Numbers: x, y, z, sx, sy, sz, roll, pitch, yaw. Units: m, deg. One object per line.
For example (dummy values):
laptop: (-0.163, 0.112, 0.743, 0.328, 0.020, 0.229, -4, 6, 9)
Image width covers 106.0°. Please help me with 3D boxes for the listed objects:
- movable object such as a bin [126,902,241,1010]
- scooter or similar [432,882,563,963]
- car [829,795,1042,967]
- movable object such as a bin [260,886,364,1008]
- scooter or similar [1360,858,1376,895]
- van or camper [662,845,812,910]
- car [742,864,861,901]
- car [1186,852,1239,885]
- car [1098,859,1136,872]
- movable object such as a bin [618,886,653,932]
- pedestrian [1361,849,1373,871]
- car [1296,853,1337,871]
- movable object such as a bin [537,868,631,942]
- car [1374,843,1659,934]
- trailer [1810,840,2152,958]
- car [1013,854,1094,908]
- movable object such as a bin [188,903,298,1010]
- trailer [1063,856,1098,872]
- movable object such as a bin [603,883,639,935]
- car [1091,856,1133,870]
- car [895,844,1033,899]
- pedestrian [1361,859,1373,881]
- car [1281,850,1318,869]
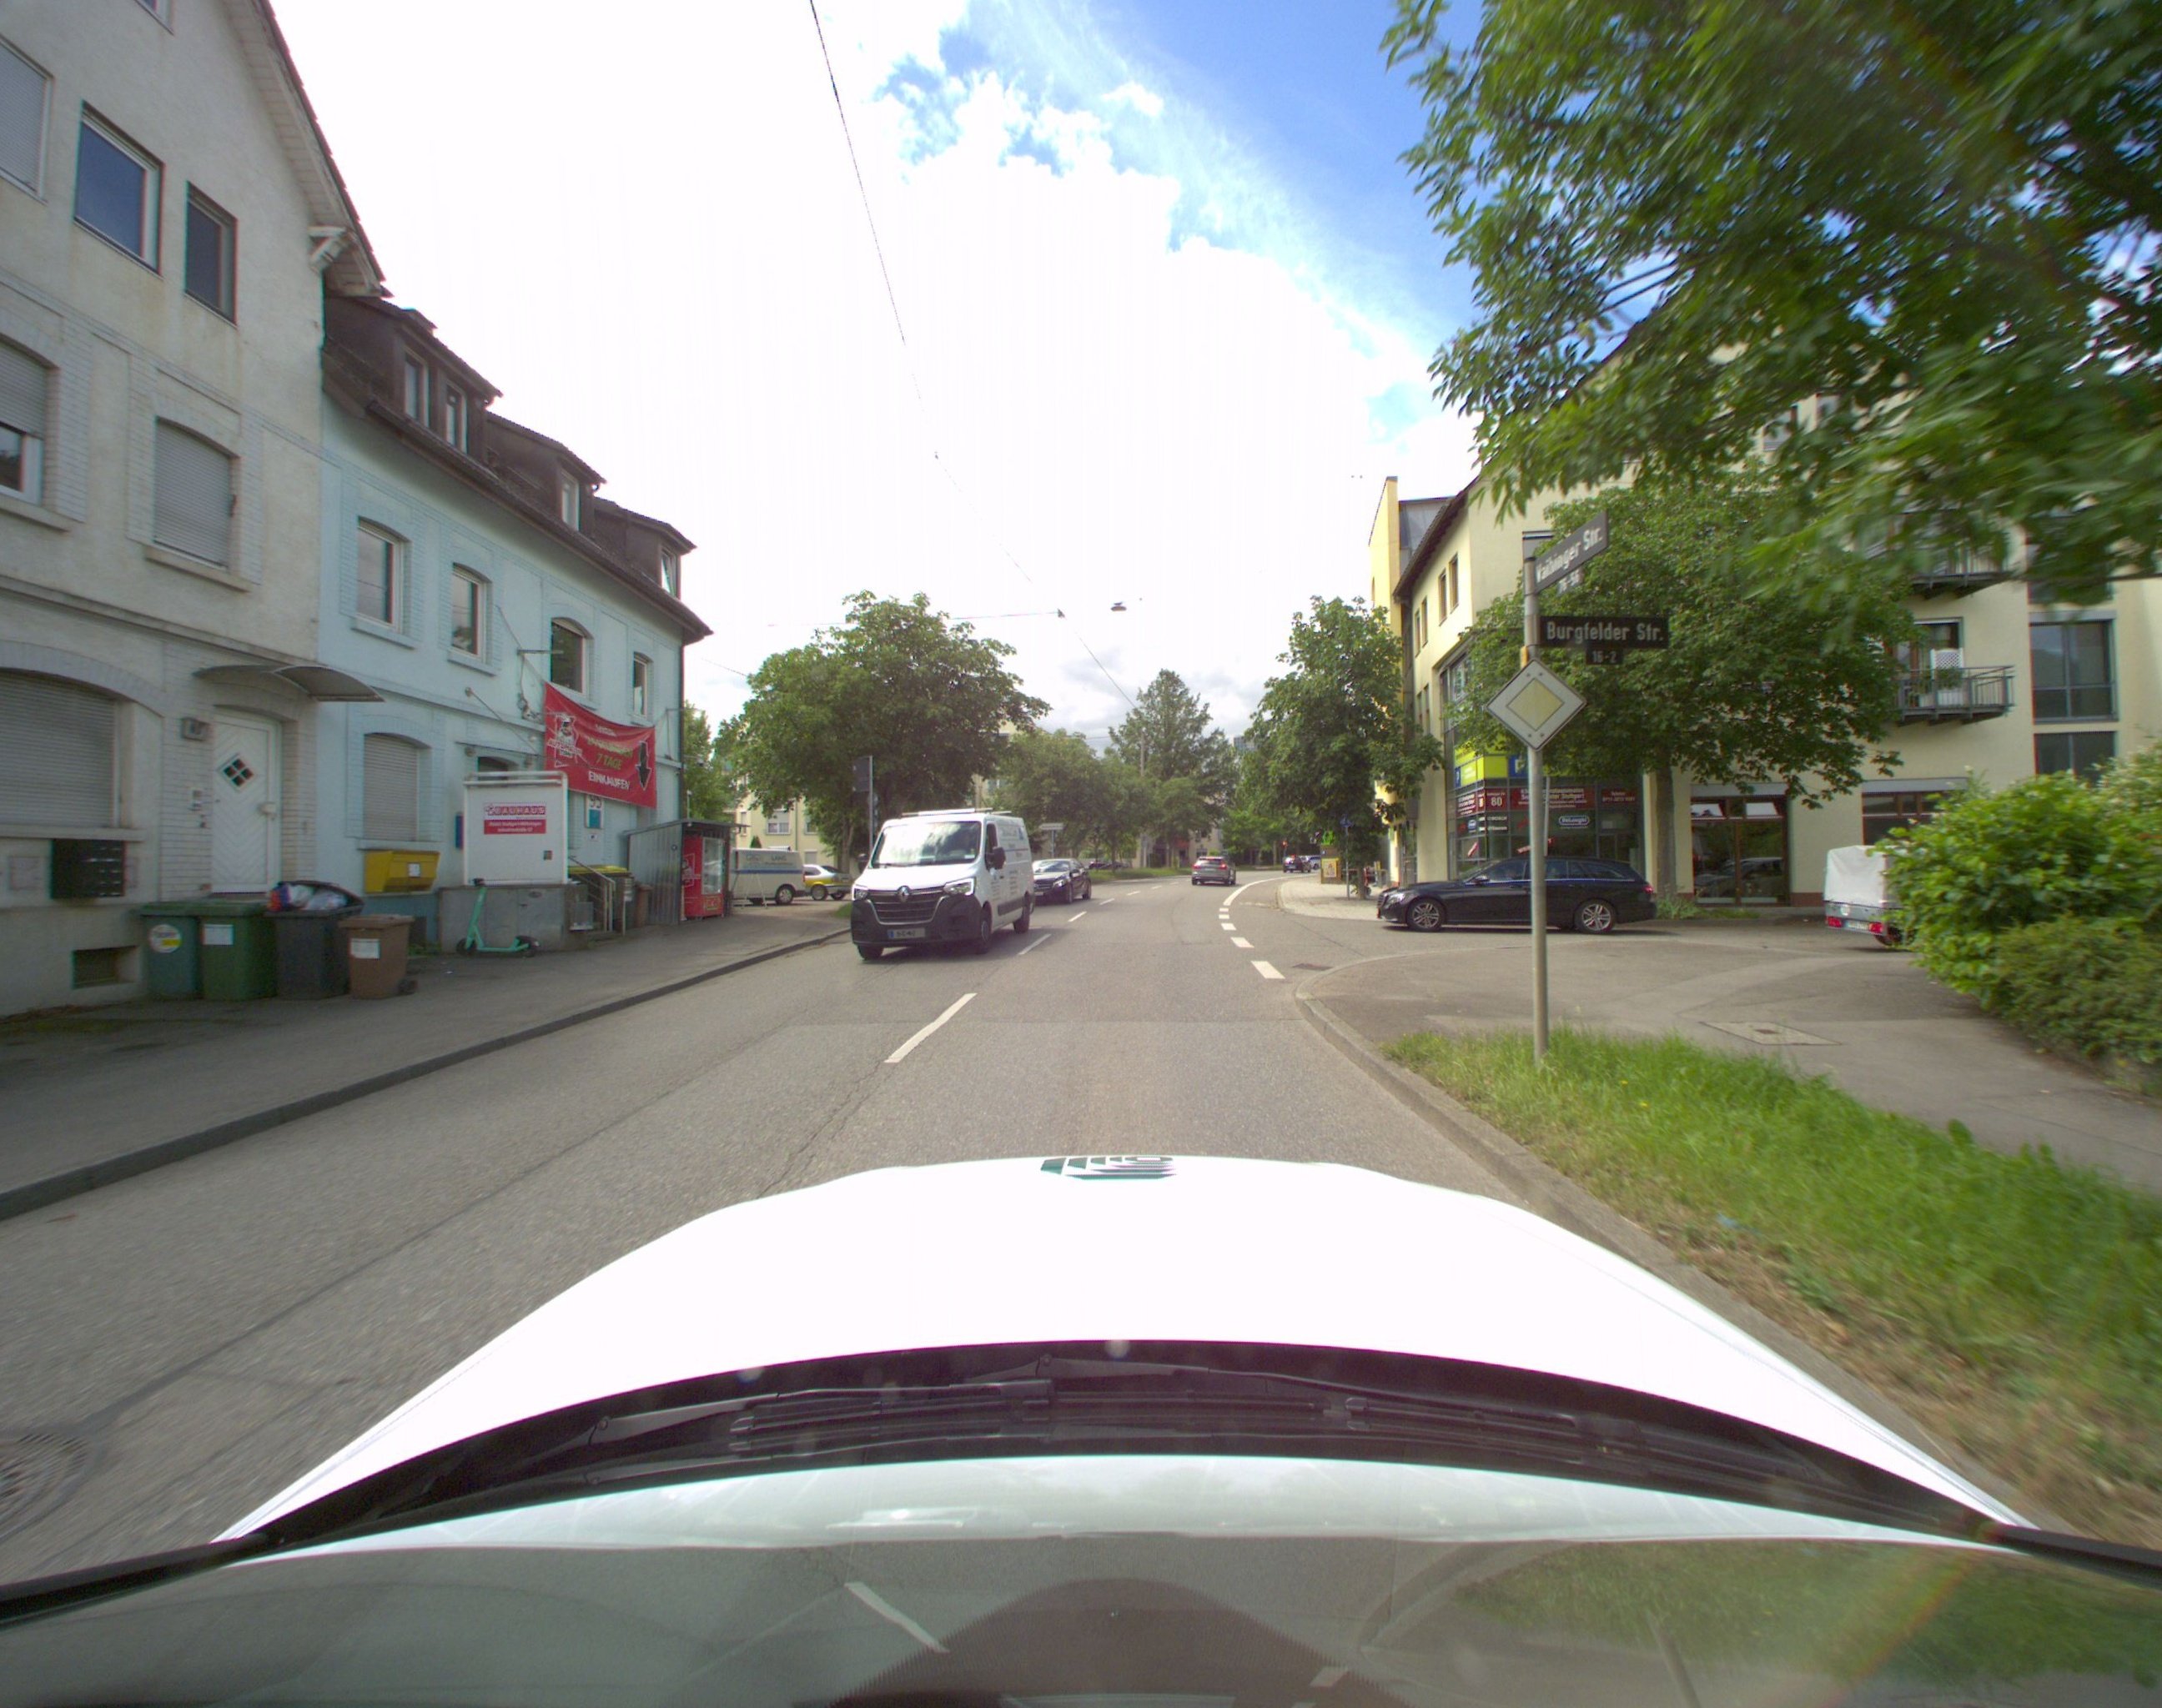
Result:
movable object such as a bin: (-9.701, 1.082, 8.820, 0.563, 1.101, 0.562, 1, -1, -5)
scooter or similar: (-8.809, 1.018, 12.329, 1.548, 1.184, 0.545, 0, -1, -1)
car: (-2.234, 0.369, 14.263, 2.052, 2.353, 5.194, -4, 0, 7)
movable object such as a bin: (-8.461, 1.008, 8.982, 0.563, 1.273, 0.562, 1, -1, -5)
scooter or similar: (10.555, 0.822, 29.994, 0.378, 1.316, 1.464, 0, -1, 13)
van or camper: (-11.482, 0.776, 27.495, 1.767, 1.994, 4.407, -2, -2, 35)
car: (-10.924, 1.119, 31.930, 3.990, 1.413, 1.821, -1, -2, 11)
car: (6.782, 0.694, 41.619, 1.940, 1.523, 4.350, 1, 1, 18)
car: (4.172, 1.322, 94.428, 4.047, 1.400, 1.801, 0, -4, 15)
movable object such as a bin: (-9.445, 1.161, 17.265, 0.445, 0.932, 0.517, 0, -1, -2)
pedestrian: (15.548, 0.337, 44.267, 0.518, 1.181, 0.502, 0, -1, 5)
car: (24.385, 0.846, 84.224, 4.347, 1.616, 1.791, 2, 0, -36)
movable object such as a bin: (-9.455, 0.948, 15.557, 1.017, 1.355, 1.246, 0, -1, -2)
car: (8.308, 0.647, 16.004, 4.637, 1.628, 1.817, 0, -1, 14)
trailer: (12.976, 0.606, 11.936, 3.137, 1.582, 1.398, -1, 0, 12)
car: (-0.796, 0.798, 26.147, 1.676, 1.482, 4.238, -4, -1, 10)
movable object such as a bin: (-9.107, 1.097, 8.871, 0.563, 1.101, 0.562, 1, -1, -5)
trailer: (-0.036, 1.172, 95.655, 3.879, 1.799, 1.636, 0, -4, 13)
movable object such as a bin: (-9.405, 1.110, 16.669, 0.431, 1.040, 0.517, 0, -1, -2)
car: (3.228, 0.945, 85.463, 4.047, 1.400, 1.801, 0, -4, 15)
car: (-4.876, 0.718, 34.054, 5.171, 1.993, 2.118, -3, 0, 17)
pedestrian: (15.270, 0.850, 43.439, 0.572, 1.204, 0.505, 0, -1, 16)
car: (18.628, 0.455, 69.408, 1.787, 1.523, 4.356, 2, 1, 32)
